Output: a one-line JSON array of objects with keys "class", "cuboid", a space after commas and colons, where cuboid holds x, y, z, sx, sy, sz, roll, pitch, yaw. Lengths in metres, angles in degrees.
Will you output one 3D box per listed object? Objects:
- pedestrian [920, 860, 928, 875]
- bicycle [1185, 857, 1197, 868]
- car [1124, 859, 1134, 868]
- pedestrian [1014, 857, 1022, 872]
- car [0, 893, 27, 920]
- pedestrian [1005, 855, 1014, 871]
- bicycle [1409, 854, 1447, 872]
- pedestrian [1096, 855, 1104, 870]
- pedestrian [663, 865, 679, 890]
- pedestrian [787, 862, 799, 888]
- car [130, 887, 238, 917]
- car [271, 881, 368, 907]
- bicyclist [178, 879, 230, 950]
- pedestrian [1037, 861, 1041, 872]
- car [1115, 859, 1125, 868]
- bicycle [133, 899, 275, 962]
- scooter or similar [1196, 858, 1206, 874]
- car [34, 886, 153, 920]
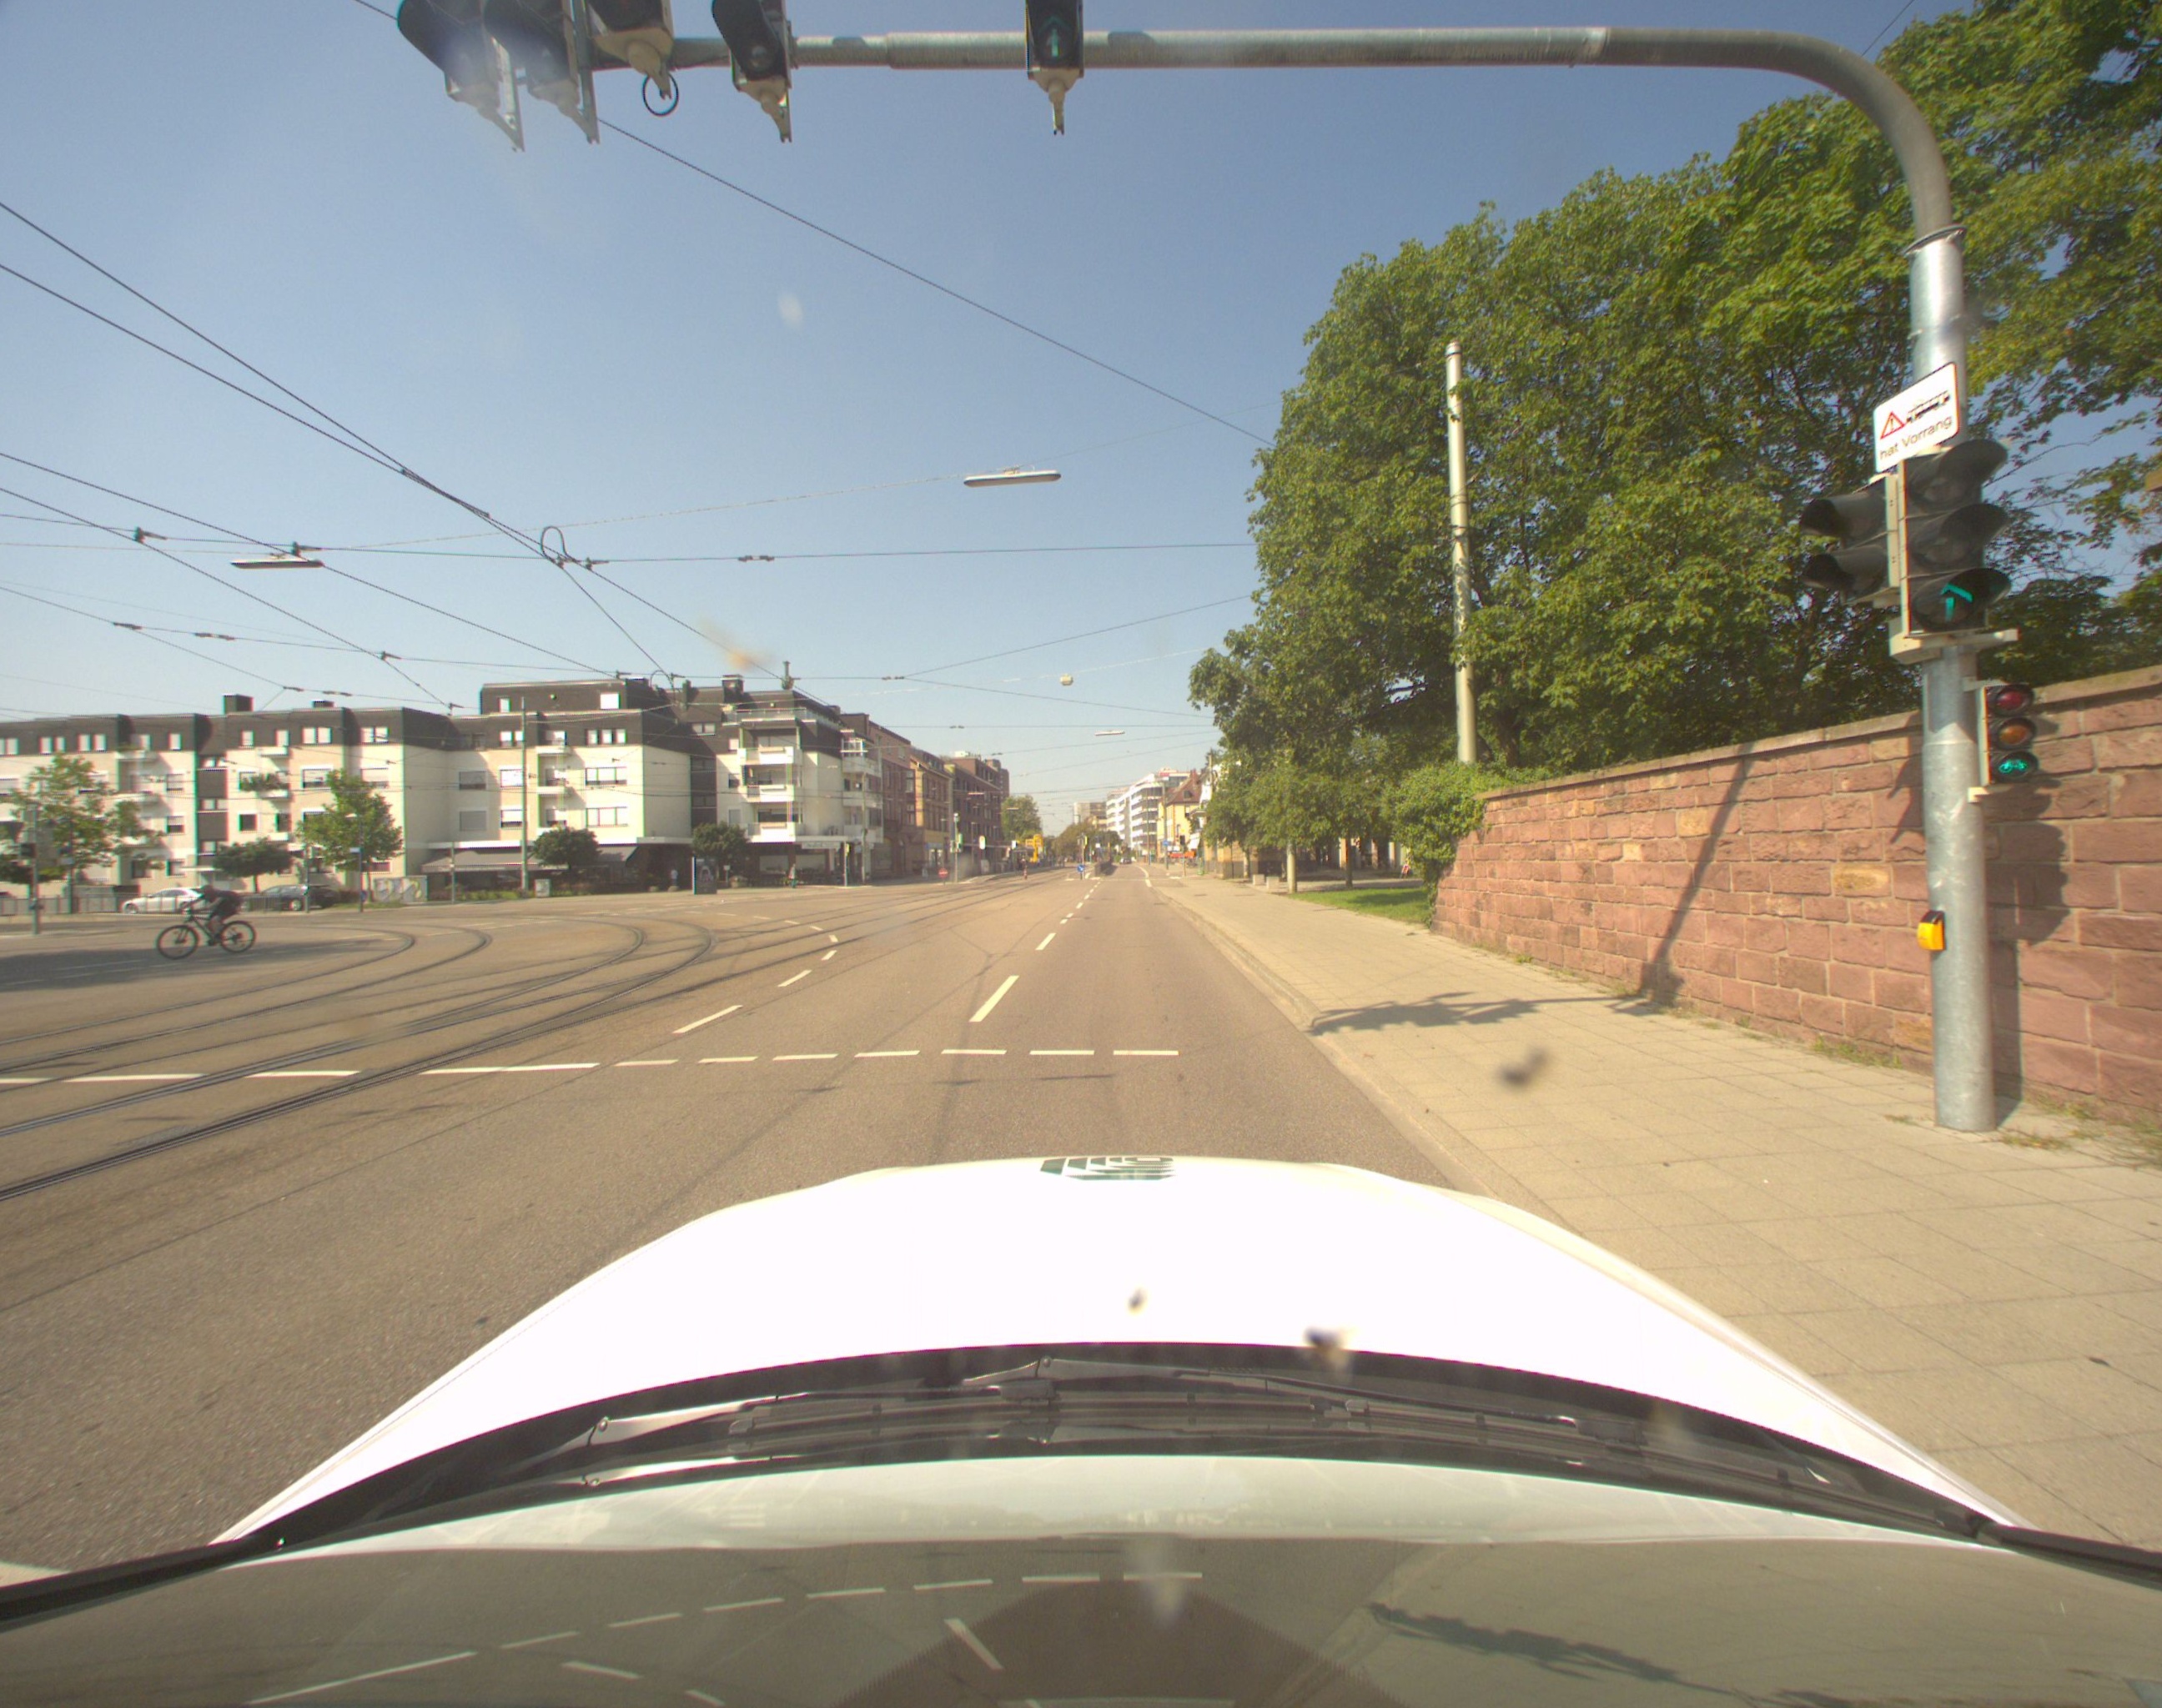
[{"class": "pedestrian", "cuboid": [-16.111, 1.366, 83.738, 0.479, 1.560, 0.890, -1, -2, 14]}, {"class": "bicycle", "cuboid": [12.276, 0.974, 90.820, 0.729, 1.132, 2.835, -5, -1, -4]}, {"class": "car", "cuboid": [10.640, 2.151, 181.090, 2.002, 1.859, 4.005, -3, -1, 4]}, {"class": "pedestrian", "cuboid": [-7.496, 1.284, 97.331, 0.705, 1.747, 0.800, -3, -1, 4]}, {"class": "car", "cuboid": [-61.914, 3.042, 45.524, 3.890, 1.481, 1.674, -3, -1, 2]}, {"class": "pedestrian", "cuboid": [-7.938, 0.946, 90.287, 0.705, 1.723, 0.800, -3, -1, 4]}, {"class": "bicycle", "cuboid": [19.439, 0.515, 45.600, 1.896, 0.980, 0.427, -1, -1, 2]}, {"class": "pedestrian", "cuboid": [2.134, 0.958, 90.635, 0.717, 1.703, 0.885, -3, -1, 4]}, {"class": "pedestrian", "cuboid": [-28.517, 1.633, 56.661, 0.676, 1.741, 0.699, -3, -1, 4]}, {"class": "pedestrian", "cuboid": [-20.374, 1.485, 57.601, 0.602, 1.745, 0.560, -3, -1, -30]}, {"class": "car", "cuboid": [-49.204, 2.625, 44.719, 4.093, 1.299, 1.674, -3, -1, 2]}, {"class": "car", "cuboid": [-46.212, 2.410, 49.469, 4.093, 1.507, 1.931, 0, -1, 2]}, {"class": "bicyclist", "cuboid": [-19.447, 1.328, 18.060, 0.565, 1.523, 0.490, -3, -1, 4]}, {"class": "pedestrian", "cuboid": [-5.948, 1.740, 114.623, 0.531, 1.530, 0.701, -3, -1, -3]}, {"class": "car", "cuboid": [8.972, 2.124, 187.269, 2.002, 1.859, 4.005, -3, -1, 4]}, {"class": "bicycle", "cuboid": [-19.423, 1.660, 18.124, 0.572, 1.179, 2.211, -3, 0, 5]}, {"class": "scooter or similar", "cuboid": [8.772, 0.865, 59.482, 0.521, 1.133, 1.513, -3, -1, 4]}, {"class": "car", "cuboid": [-54.892, 2.714, 45.333, 4.354, 1.534, 1.870, -3, -1, 1]}]
